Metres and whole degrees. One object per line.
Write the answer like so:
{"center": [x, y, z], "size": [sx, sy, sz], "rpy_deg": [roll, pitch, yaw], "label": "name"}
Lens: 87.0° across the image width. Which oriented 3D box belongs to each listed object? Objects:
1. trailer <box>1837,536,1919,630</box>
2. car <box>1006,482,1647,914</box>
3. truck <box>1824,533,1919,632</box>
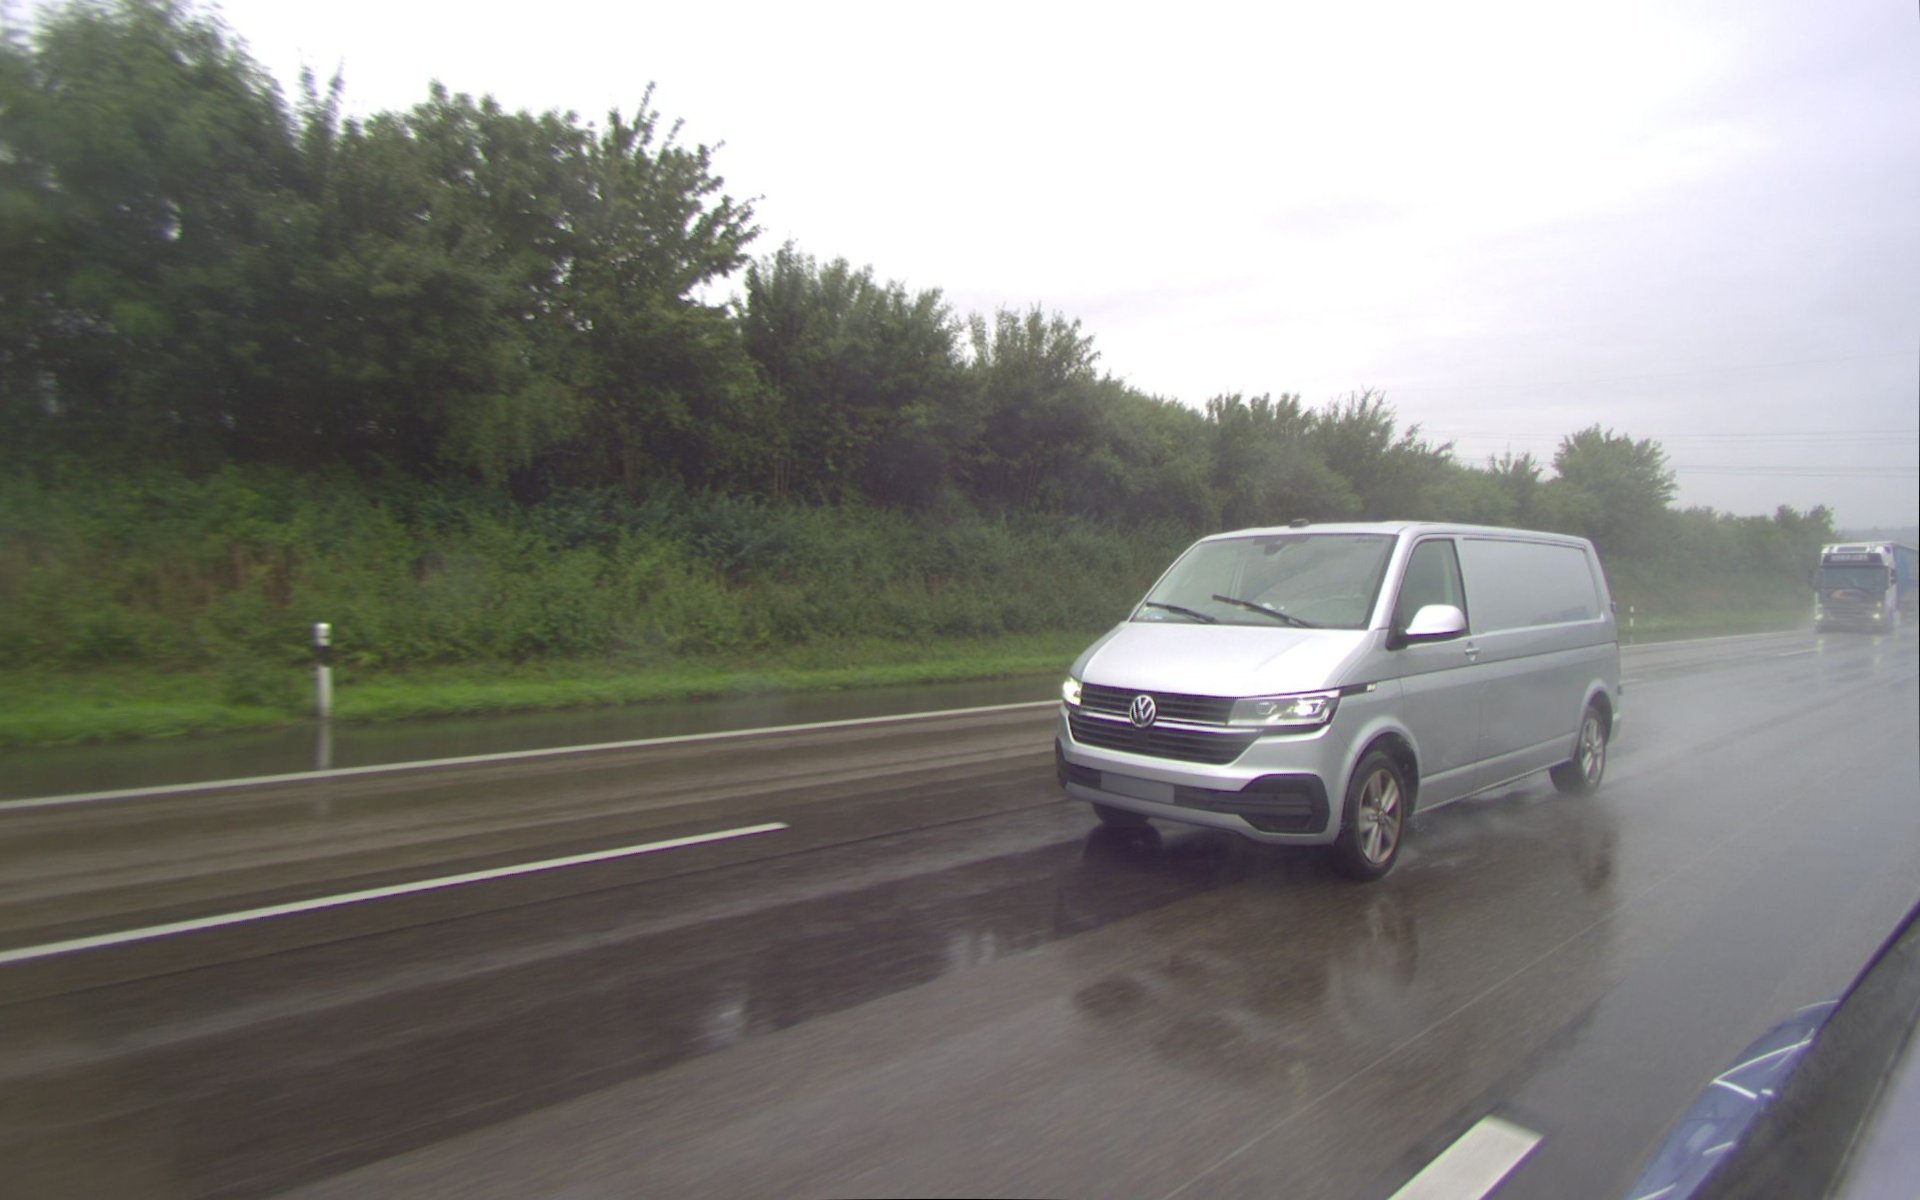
{"center": [46.223, -0.818, 49.854], "size": [13.549, 4.139, 2.617], "rpy_deg": [0, 1, -41], "label": "trailer"}
{"center": [2.745, 0.400, 6.805], "size": [4.921, 1.907, 1.891], "rpy_deg": [0, 1, -41], "label": "car"}
{"center": [40.664, -0.760, 45.019], "size": [5.146, 4.139, 2.617], "rpy_deg": [0, 1, -41], "label": "truck"}
